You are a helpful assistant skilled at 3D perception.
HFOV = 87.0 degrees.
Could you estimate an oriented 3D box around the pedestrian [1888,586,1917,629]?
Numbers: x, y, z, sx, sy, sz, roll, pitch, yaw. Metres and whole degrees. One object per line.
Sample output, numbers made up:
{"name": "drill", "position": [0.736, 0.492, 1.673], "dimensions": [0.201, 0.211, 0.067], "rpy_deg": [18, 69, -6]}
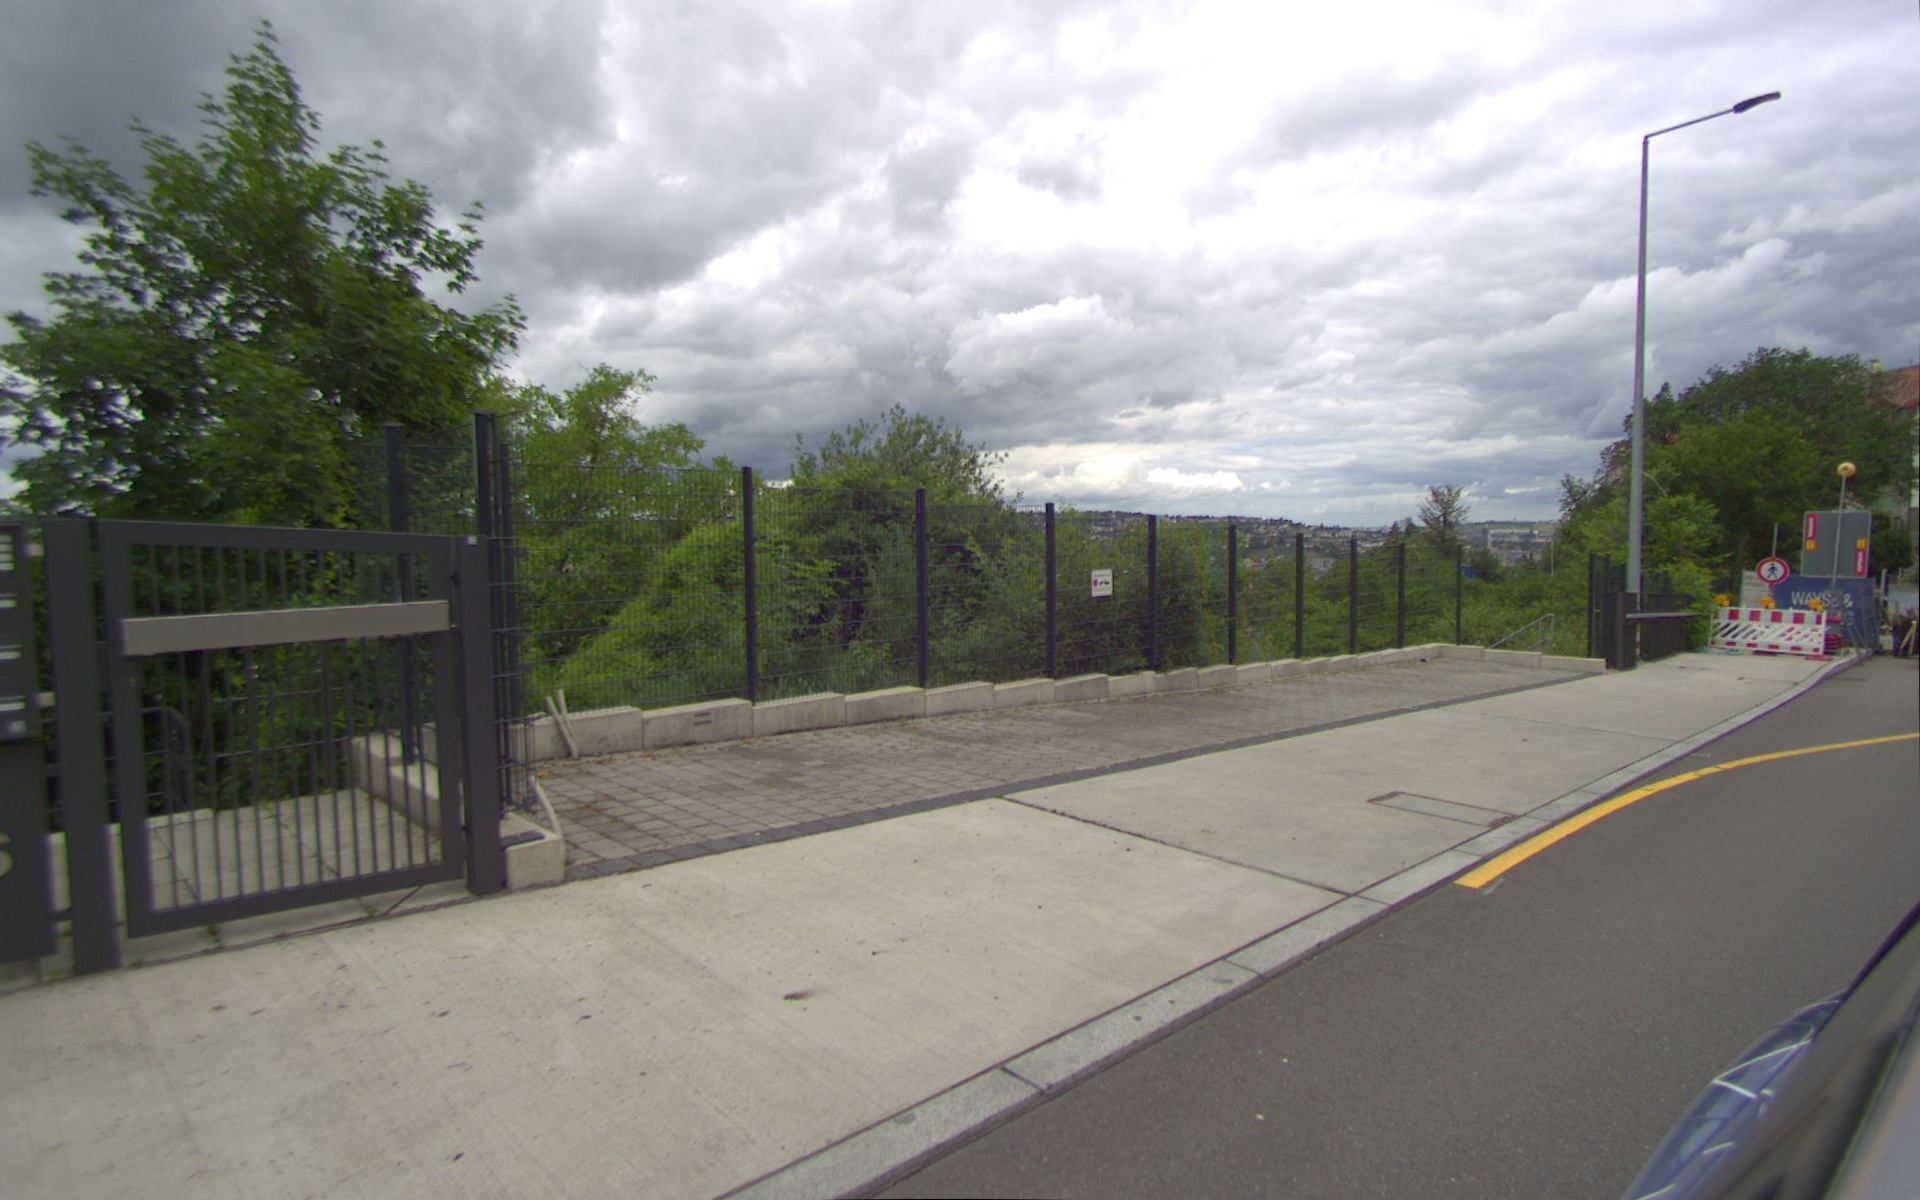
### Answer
{"name": "pedestrian", "position": [39.917, 0.309, 42.860], "dimensions": [0.639, 1.817, 0.639], "rpy_deg": [-2, 0, 21]}
